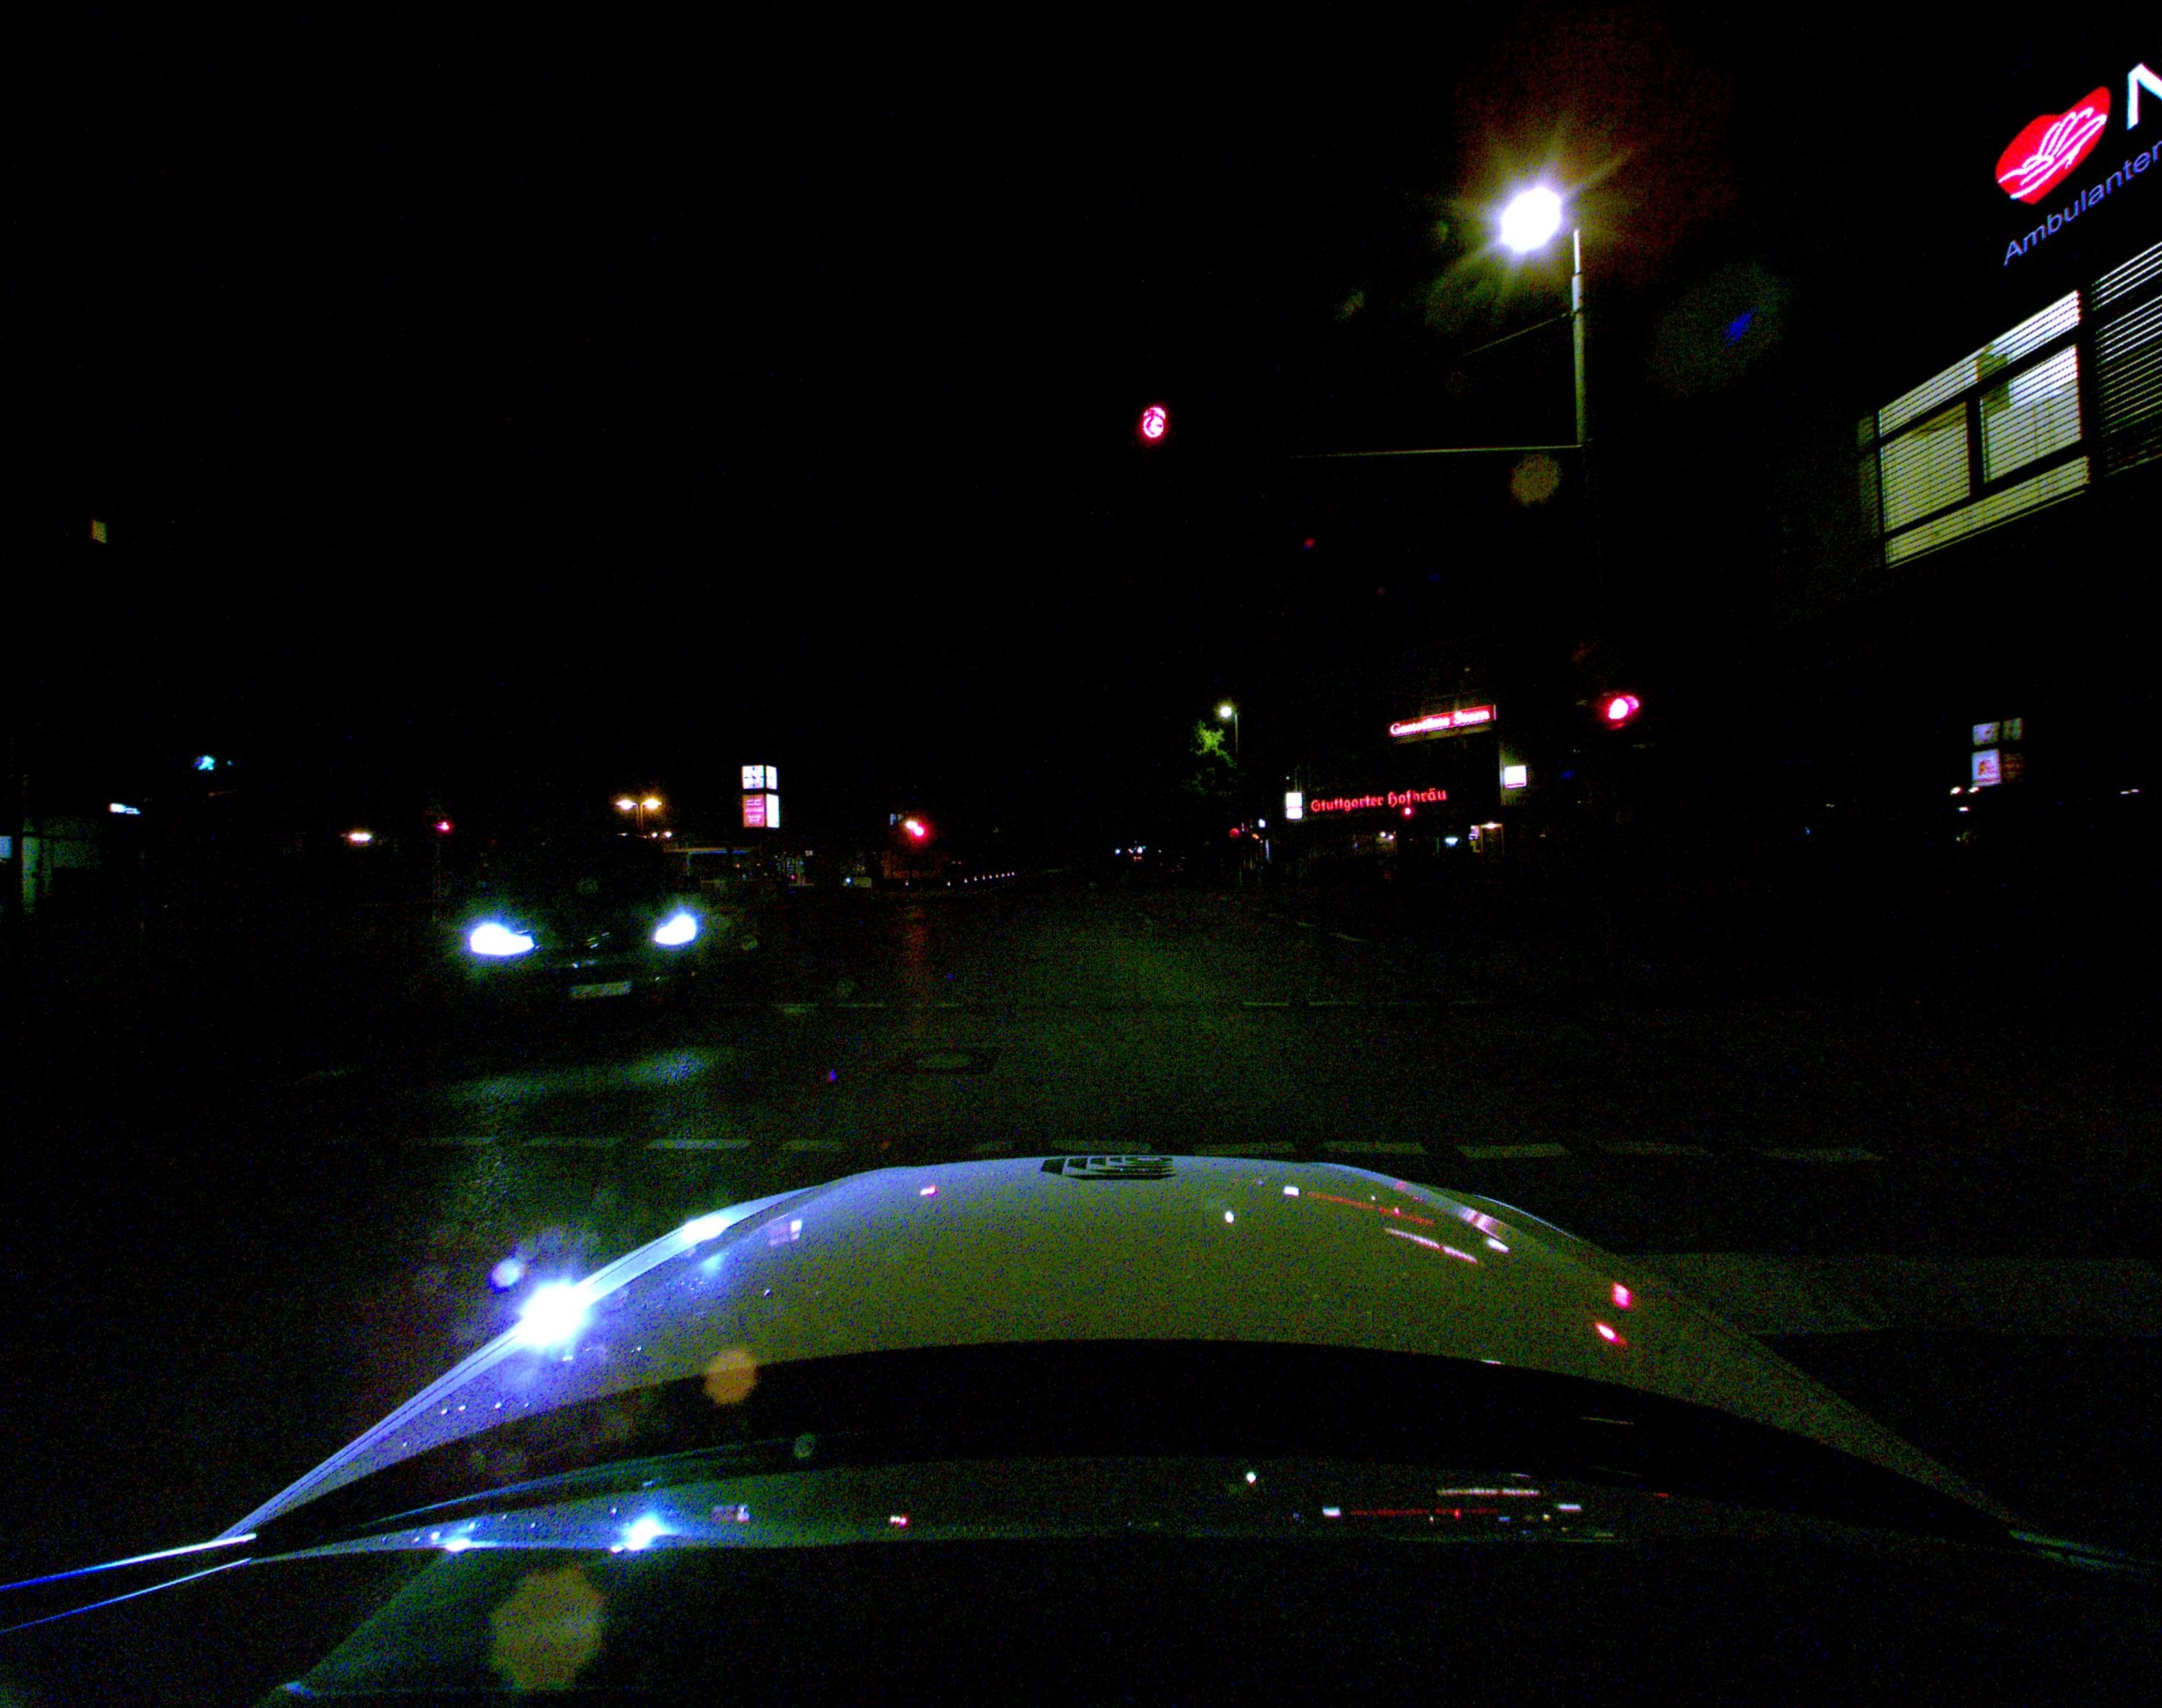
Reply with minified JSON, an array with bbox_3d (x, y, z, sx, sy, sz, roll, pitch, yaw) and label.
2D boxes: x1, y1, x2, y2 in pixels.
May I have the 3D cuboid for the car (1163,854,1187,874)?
[{"bbox_3d":[7.884,0.829,68.780,1.868,1.615,4.005,-2,-1,5],"label":"car"}]

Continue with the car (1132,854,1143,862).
[{"bbox_3d":[11.925,0.894,171.908,2.218,1.651,4.002,-1,0,2],"label":"car"}]

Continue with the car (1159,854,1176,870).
[{"bbox_3d":[10.043,0.935,94.495,1.868,1.683,4.005,-2,-1,5],"label":"car"}]

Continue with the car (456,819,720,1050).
[{"bbox_3d":[-5.741,0.693,9.158,1.982,1.871,4.856,-1,-1,-37],"label":"car"}]

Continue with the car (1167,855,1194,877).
[{"bbox_3d":[7.769,0.936,63.688,1.868,1.615,4.005,-2,-1,5],"label":"car"}]

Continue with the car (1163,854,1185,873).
[{"bbox_3d":[8.679,0.875,76.437,1.868,1.729,4.005,-2,-1,5],"label":"car"}]
